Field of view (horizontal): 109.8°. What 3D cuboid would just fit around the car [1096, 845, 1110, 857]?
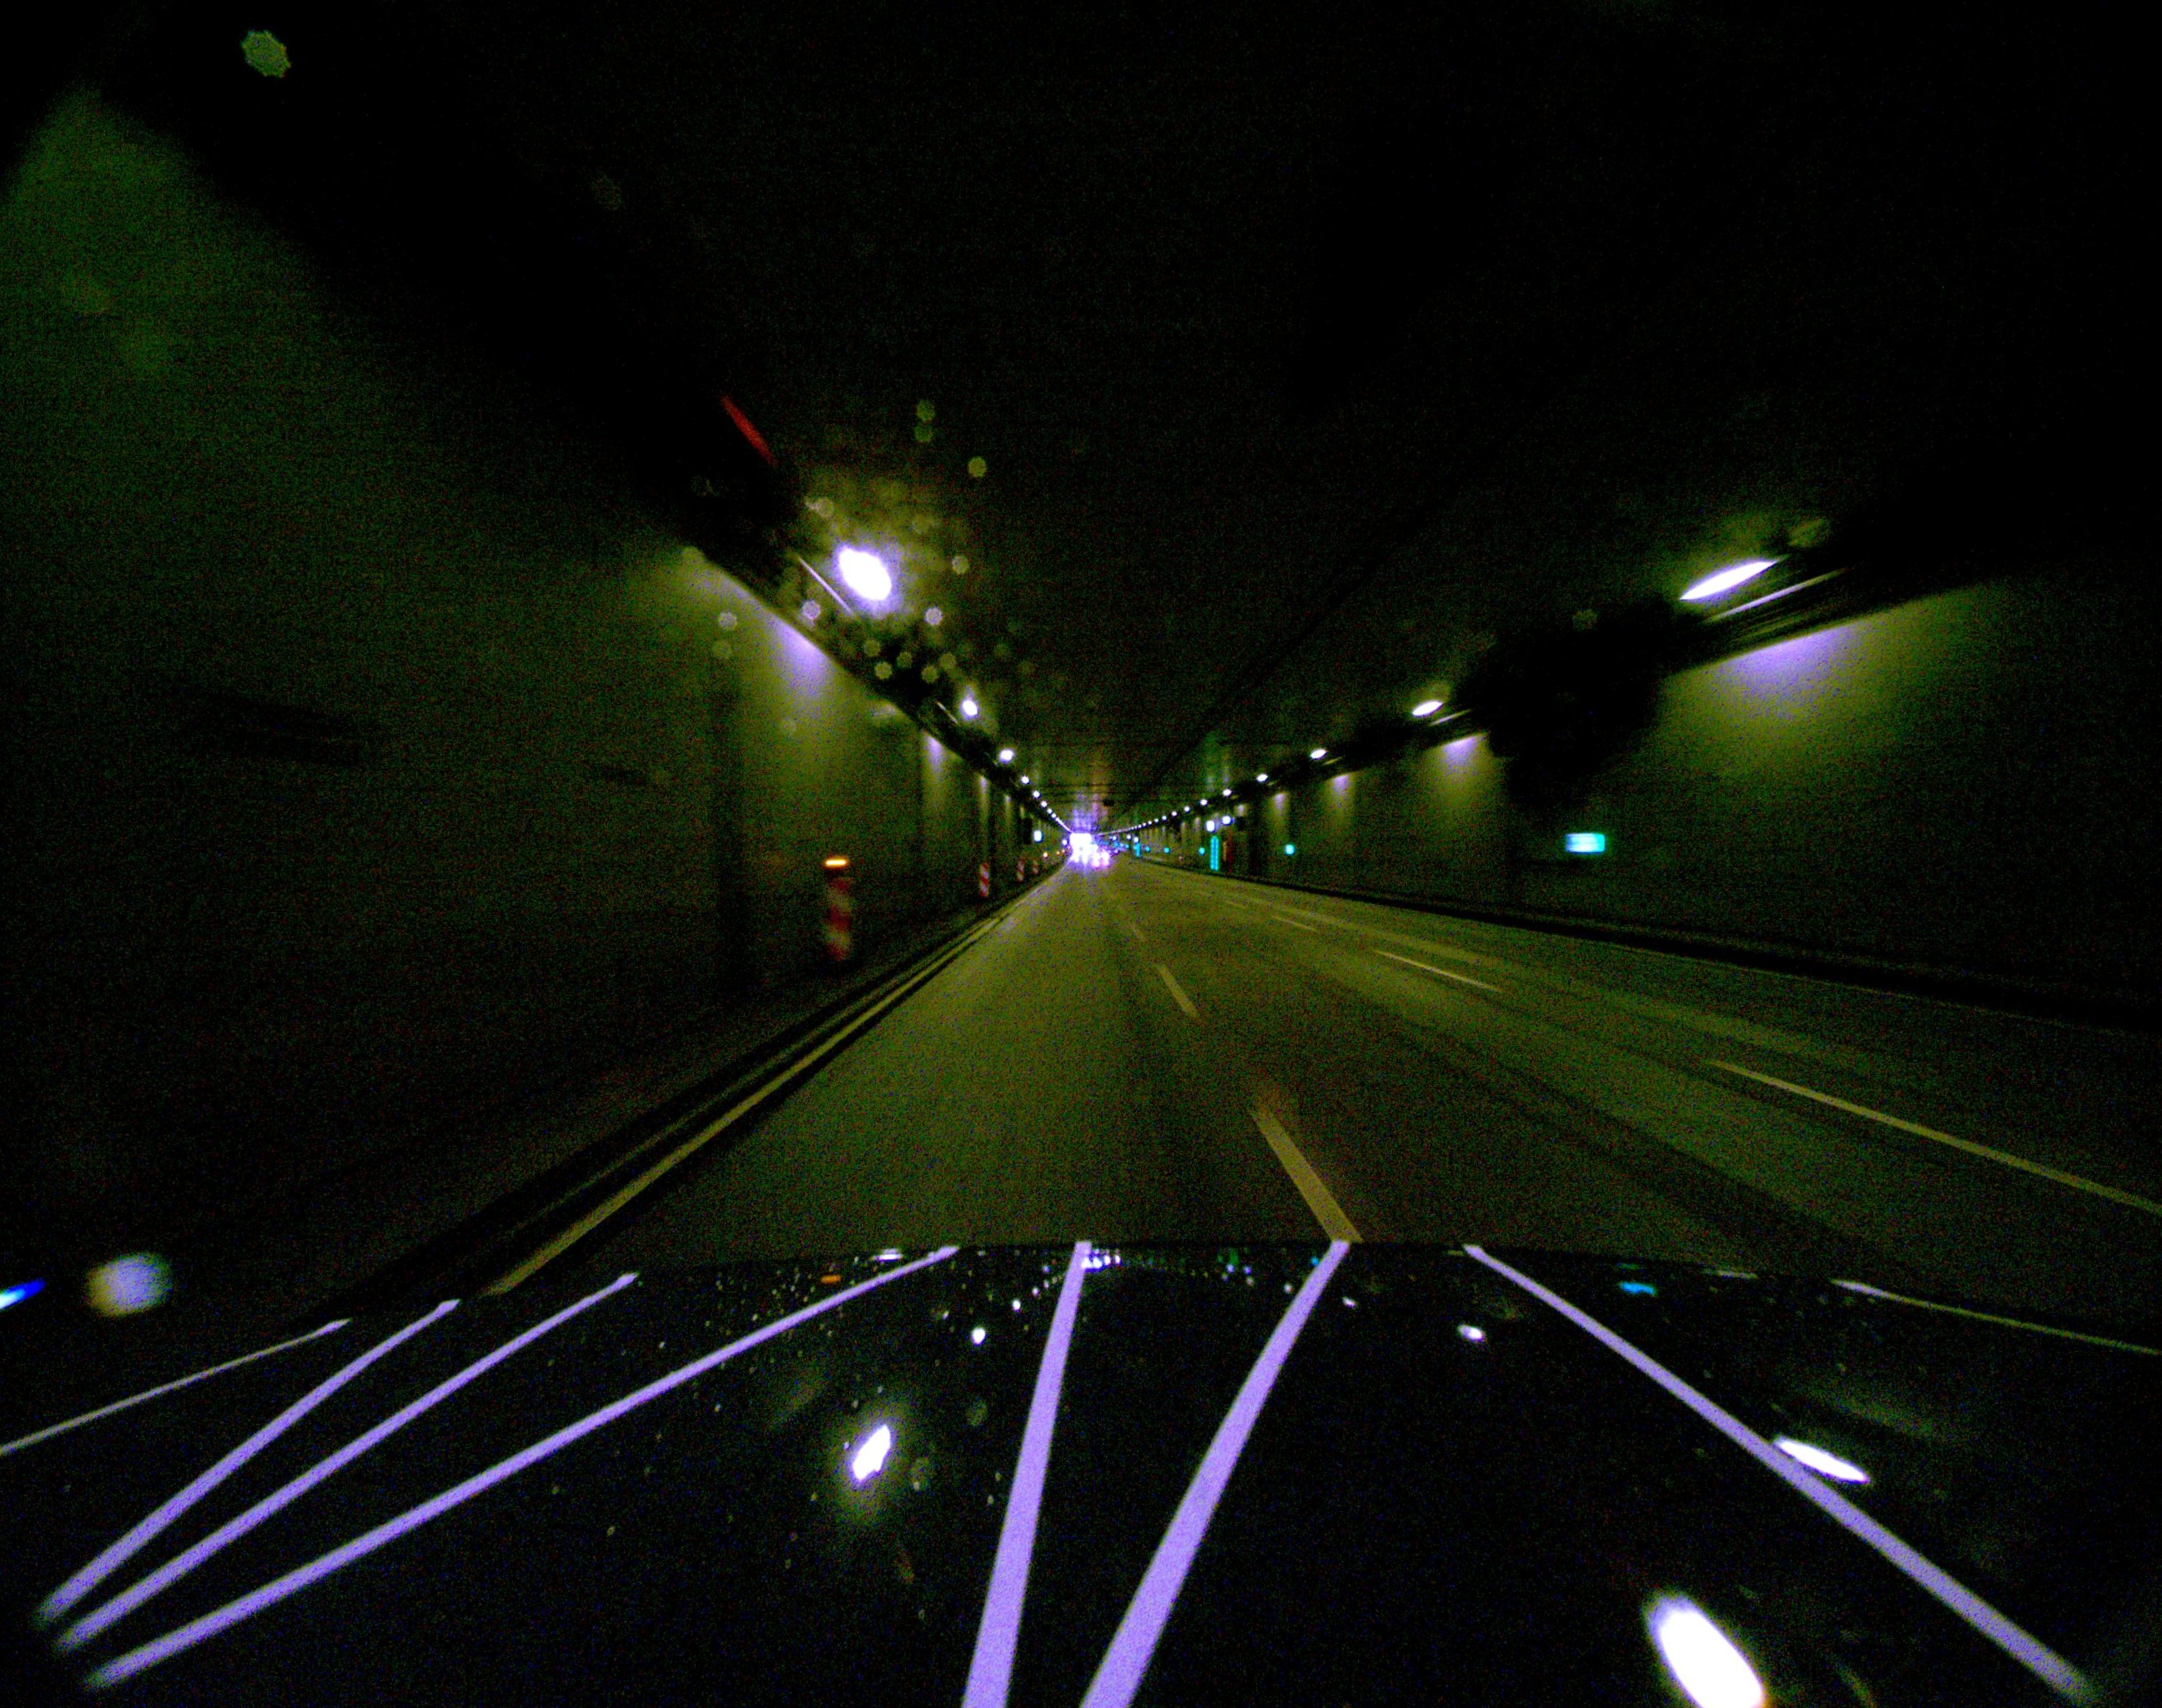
[{"bbox_3d":[3.361,-0.457,115.373,1.998,1.686,4.000,-2,0,0],"label":"car"}]

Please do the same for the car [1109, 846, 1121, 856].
[{"bbox_3d":[6.205,-0.538,140.152,1.998,1.686,4.000,-3,1,0],"label":"car"}]

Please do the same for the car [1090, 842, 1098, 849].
[{"bbox_3d":[3.650,-2.405,216.972,1.998,1.756,3.999,-3,2,1],"label":"car"}]

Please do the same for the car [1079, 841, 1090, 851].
[{"bbox_3d":[0.662,-1.542,142.834,1.998,1.686,3.999,-3,2,1],"label":"car"}]
